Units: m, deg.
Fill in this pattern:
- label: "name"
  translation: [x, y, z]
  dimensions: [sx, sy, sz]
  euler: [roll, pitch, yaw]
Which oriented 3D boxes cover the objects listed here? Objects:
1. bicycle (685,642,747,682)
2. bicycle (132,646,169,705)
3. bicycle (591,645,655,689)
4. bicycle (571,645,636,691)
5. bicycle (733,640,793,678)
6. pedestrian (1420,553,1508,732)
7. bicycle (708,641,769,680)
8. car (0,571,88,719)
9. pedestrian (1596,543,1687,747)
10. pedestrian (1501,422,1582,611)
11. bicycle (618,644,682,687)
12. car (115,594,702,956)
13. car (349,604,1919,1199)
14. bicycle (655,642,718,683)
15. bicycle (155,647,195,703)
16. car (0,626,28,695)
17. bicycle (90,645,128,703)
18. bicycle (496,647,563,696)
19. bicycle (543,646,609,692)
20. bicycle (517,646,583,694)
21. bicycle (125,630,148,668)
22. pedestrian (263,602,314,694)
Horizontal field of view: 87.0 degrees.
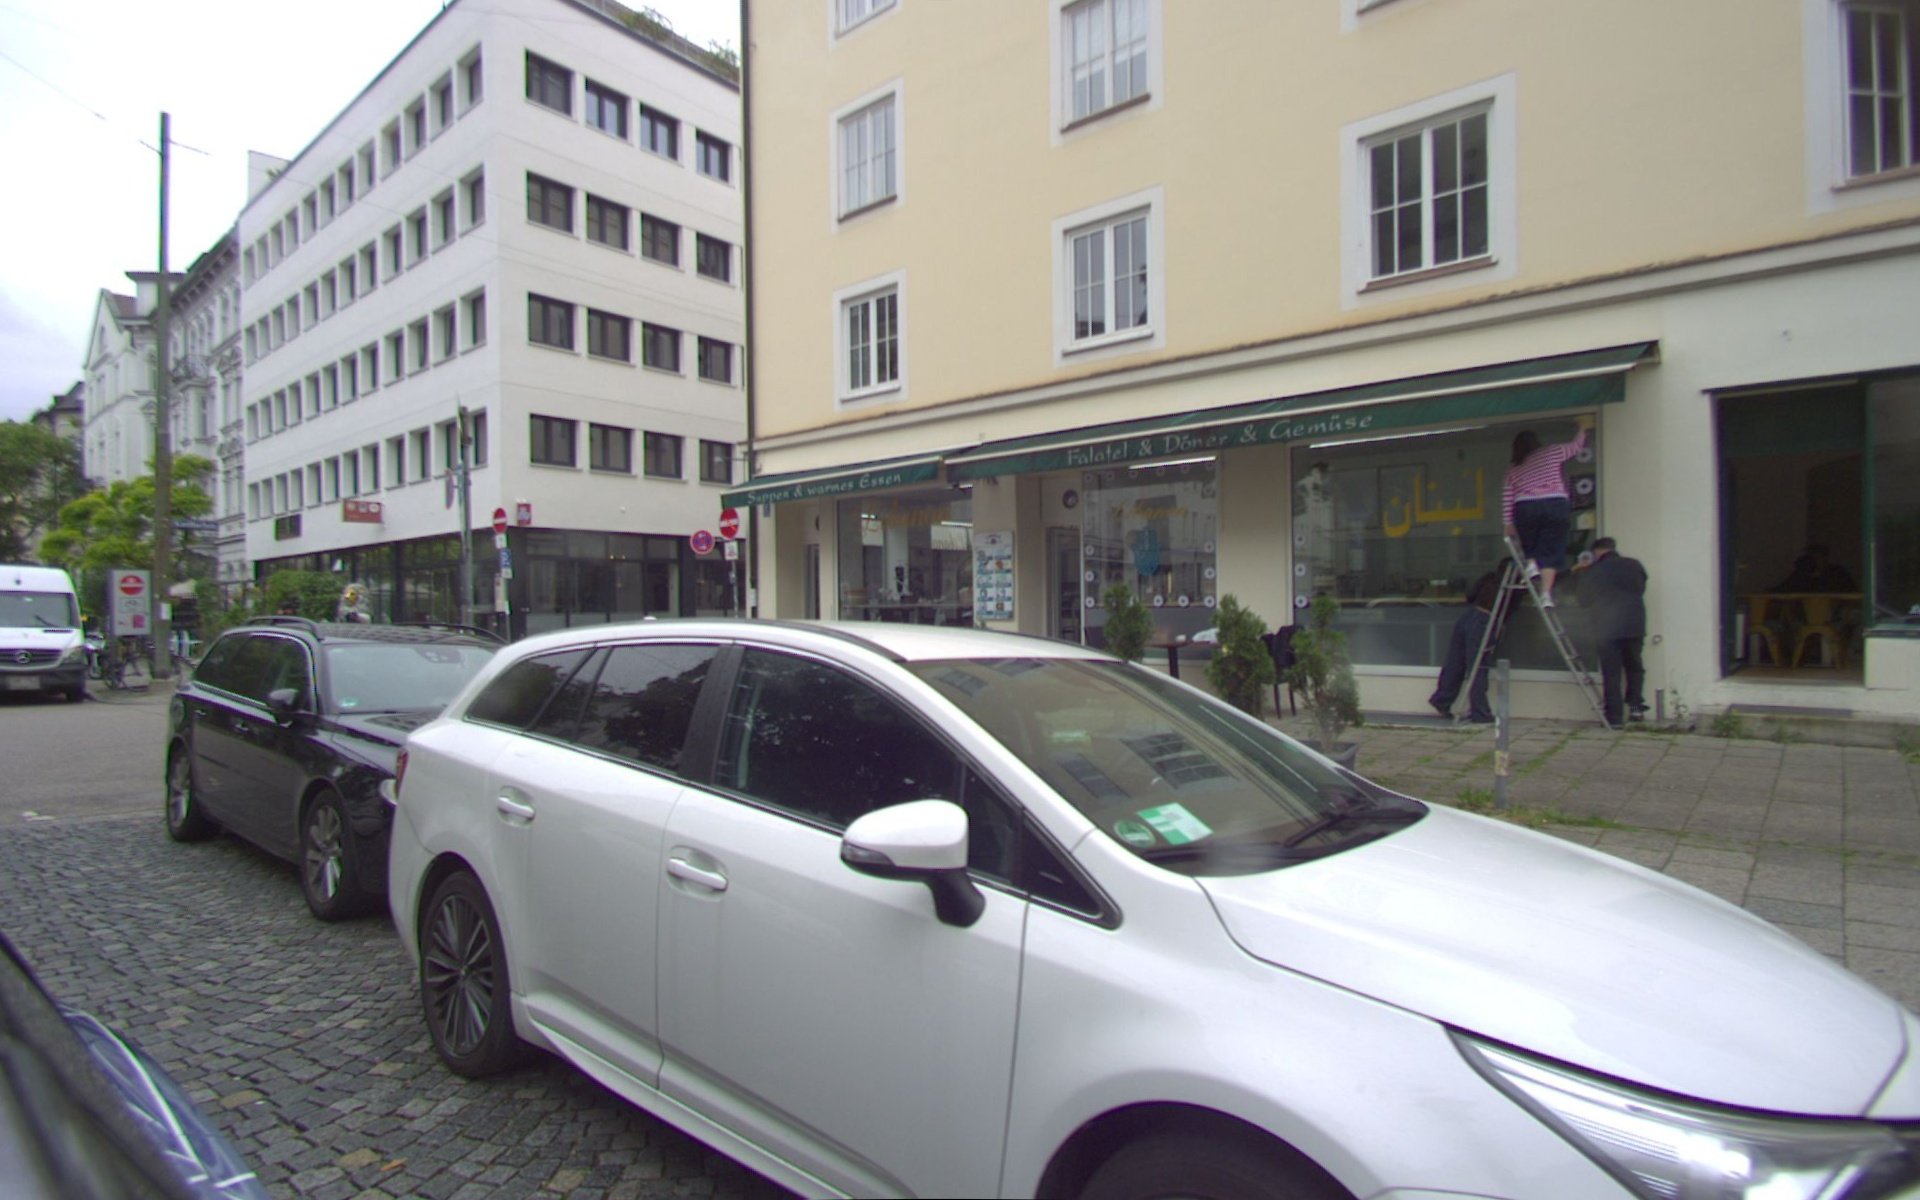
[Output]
- label: "bicycle"
  translation: [-6.266, 1.572, 25.932]
  dimensions: [1.891, 0.975, 0.394]
  euler: [-1, 0, 36]
- label: "bicycle"
  translation: [-16.522, 1.522, 20.643]
  dimensions: [1.806, 1.135, 0.252]
  euler: [-1, 0, 41]
- label: "bicycle"
  translation: [-7.892, 1.550, 23.687]
  dimensions: [1.891, 0.975, 0.394]
  euler: [-1, 0, 36]
- label: "bicycle"
  translation: [-8.202, 1.547, 23.268]
  dimensions: [1.891, 0.975, 0.394]
  euler: [-1, 0, 36]
- label: "bicycle"
  translation: [-5.358, 1.576, 27.431]
  dimensions: [1.891, 0.975, 0.394]
  euler: [-1, 0, 36]
- label: "pedestrian"
  translation: [4.855, 0.392, 9.756]
  dimensions: [0.629, 1.655, 0.516]
  euler: [-1, 0, 41]
- label: "bicycle"
  translation: [-5.850, 1.573, 26.698]
  dimensions: [1.891, 0.975, 0.394]
  euler: [-1, 0, 36]
- label: "car"
  translation: [-18.793, 0.835, 19.847]
  dimensions: [5.795, 2.594, 1.955]
  euler: [-1, -3, 44]
- label: "pedestrian"
  translation: [5.909, 0.375, 8.782]
  dimensions: [0.574, 1.703, 0.456]
  euler: [-1, 0, 42]
- label: "pedestrian"
  translation: [5.281, -0.730, 9.191]
  dimensions: [0.472, 1.655, 0.497]
  euler: [-1, 0, -44]
- label: "bicycle"
  translation: [-7.457, 1.563, 24.289]
  dimensions: [1.891, 0.975, 0.394]
  euler: [-1, 0, 36]
- label: "car"
  translation: [-3.910, 0.805, 6.736]
  dimensions: [4.744, 1.598, 1.833]
  euler: [-1, 0, 40]
- label: "car"
  translation: [0.041, 0.820, 2.860]
  dimensions: [4.539, 1.548, 1.755]
  euler: [-1, 0, 42]
- label: "bicycle"
  translation: [-6.809, 1.536, 25.133]
  dimensions: [1.891, 0.975, 0.394]
  euler: [-1, 0, 36]
- label: "bicycle"
  translation: [-16.301, 1.537, 21.010]
  dimensions: [1.814, 1.099, 0.283]
  euler: [-1, 0, 40]
- label: "car"
  translation: [-23.000, 1.381, 23.370]
  dimensions: [3.978, 1.494, 1.645]
  euler: [-1, 0, 40]
- label: "bicycle"
  translation: [-17.110, 1.470, 20.340]
  dimensions: [1.814, 1.099, 0.283]
  euler: [-2, -1, 40]
- label: "bicycle"
  translation: [-9.290, 1.519, 21.800]
  dimensions: [1.891, 0.975, 0.394]
  euler: [-1, 0, 36]
- label: "bicycle"
  translation: [-8.632, 1.530, 22.714]
  dimensions: [1.891, 0.975, 0.394]
  euler: [-1, 0, 36]
- label: "bicycle"
  translation: [-9.010, 1.521, 22.183]
  dimensions: [1.891, 0.975, 0.394]
  euler: [-1, 0, 36]
- label: "bicycle"
  translation: [-27.005, 1.583, 33.191]
  dimensions: [1.911, 1.183, 0.356]
  euler: [-1, 0, 44]
- label: "pedestrian"
  translation: [-13.812, 0.975, 20.814]
  dimensions: [0.812, 1.854, 0.608]
  euler: [-1, -1, 35]
